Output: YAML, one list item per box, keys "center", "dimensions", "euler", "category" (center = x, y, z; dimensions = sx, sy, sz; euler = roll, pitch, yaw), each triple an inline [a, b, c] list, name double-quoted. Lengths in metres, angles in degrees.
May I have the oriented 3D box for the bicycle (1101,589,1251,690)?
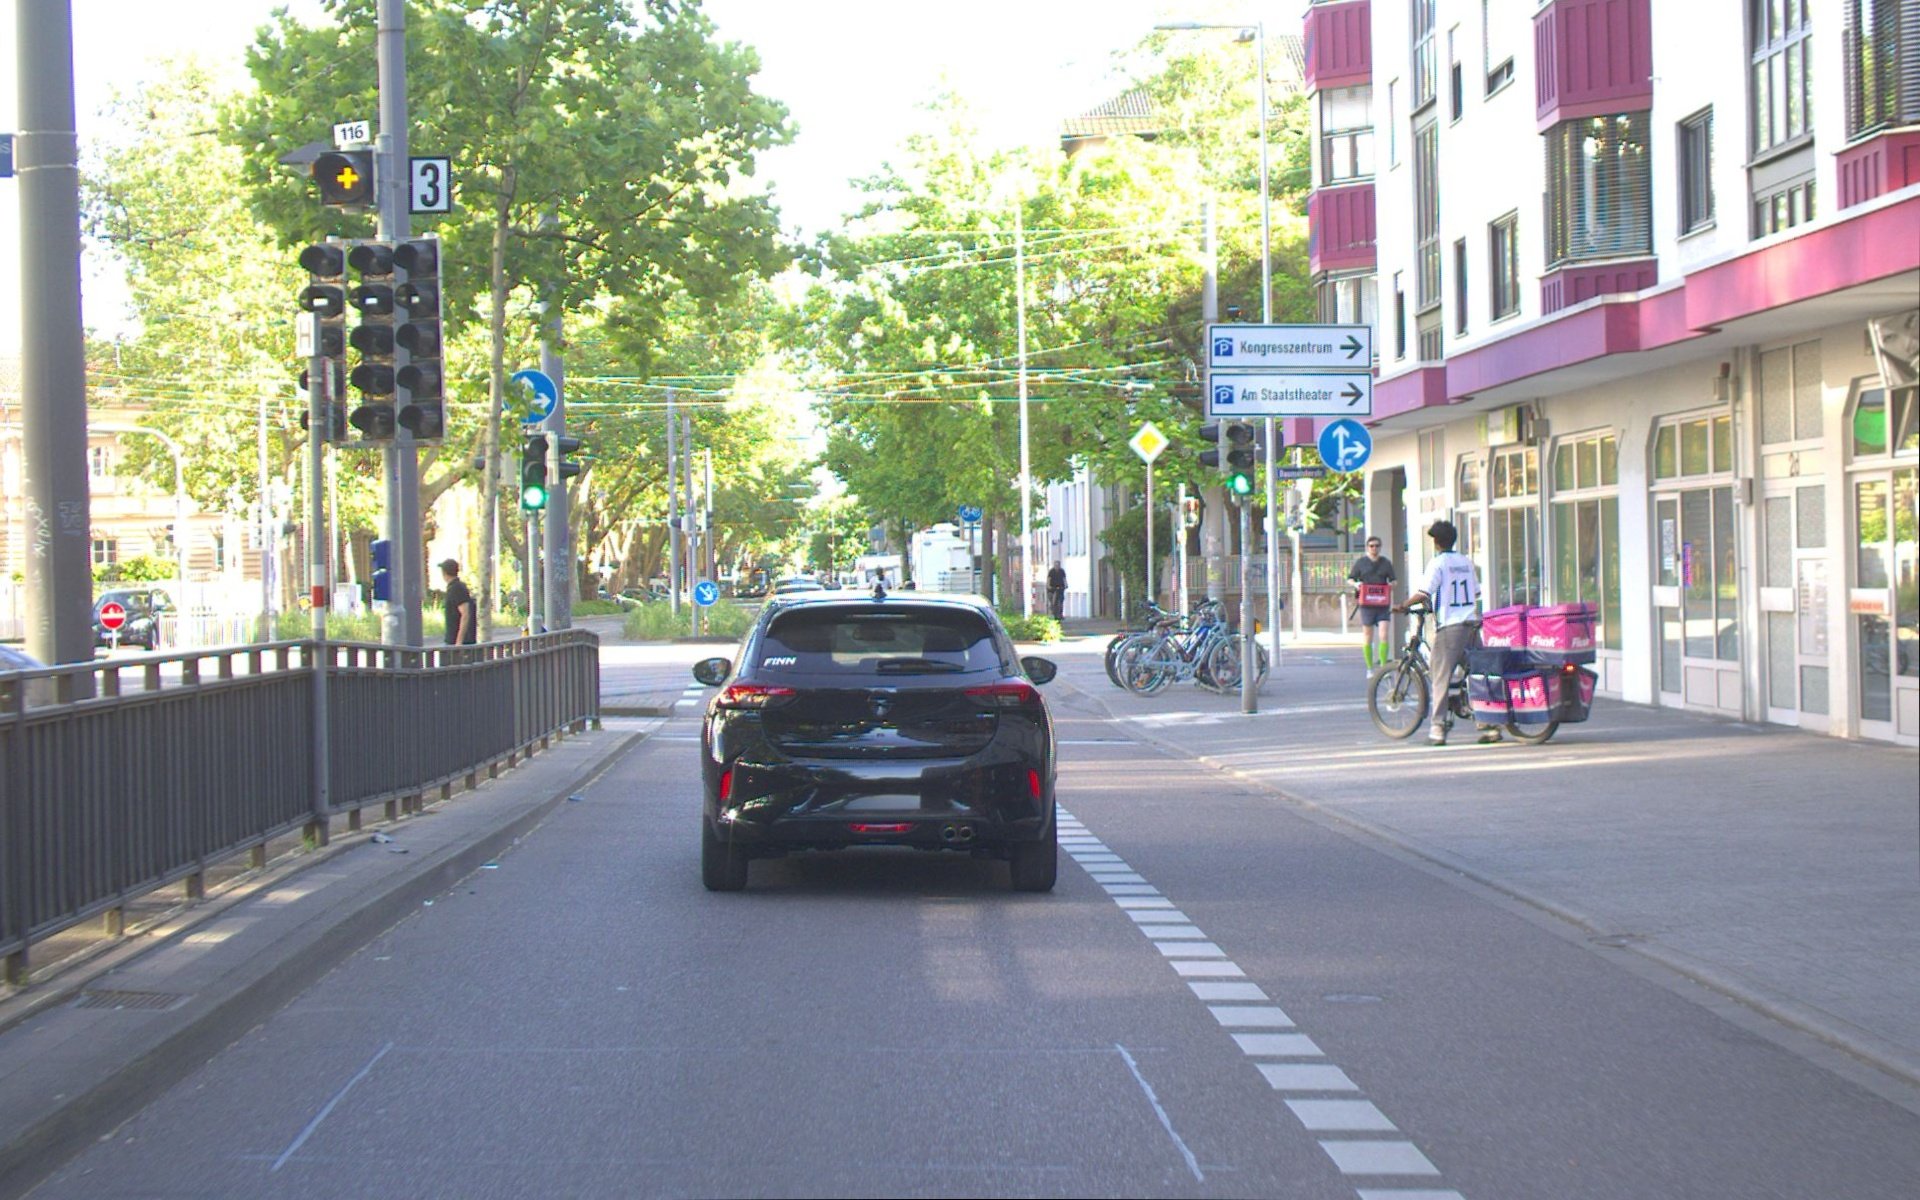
- center: [2.680, 0.489, 42.777]
  dimensions: [1.831, 1.216, 0.496]
  euler: [-1, 0, 2]
  category: "bicycle"

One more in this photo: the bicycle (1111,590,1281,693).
- center: [2.874, 0.501, 41.901]
  dimensions: [1.976, 1.195, 0.591]
  euler: [-1, 0, -6]
  category: "bicycle"

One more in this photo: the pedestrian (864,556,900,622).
- center: [-2.415, -0.354, 106.304]
  dimensions: [1.036, 2.017, 1.212]
  euler: [-1, 0, -3]
  category: "pedestrian"

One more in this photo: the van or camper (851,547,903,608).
- center: [-4.136, -1.126, 171.798]
  dimensions: [2.486, 2.983, 5.434]
  euler: [1, 0, -1]
  category: "van or camper"

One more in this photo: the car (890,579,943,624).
- center: [-1.596, 0.040, 125.141]
  dimensions: [1.790, 1.505, 3.874]
  euler: [-3, 0, -2]
  category: "car"

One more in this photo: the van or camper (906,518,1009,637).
- center: [-0.137, -0.653, 98.403]
  dimensions: [2.375, 3.114, 7.551]
  euler: [-4, 1, -3]
  category: "van or camper"

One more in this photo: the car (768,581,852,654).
- center: [-3.451, 0.385, 79.860]
  dimensions: [1.832, 1.617, 4.285]
  euler: [0, 0, -1]
  category: "car"

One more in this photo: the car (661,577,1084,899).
- center: [-0.432, 0.613, 17.751]
  dimensions: [1.905, 1.420, 4.215]
  euler: [-1, 1, -1]
  category: "car"

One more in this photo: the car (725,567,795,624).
- center: [-5.929, -0.150, 102.277]
  dimensions: [1.993, 1.622, 4.471]
  euler: [1, 0, -3]
  category: "car"

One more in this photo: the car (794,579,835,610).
- center: [-7.122, -0.269, 168.408]
  dimensions: [1.905, 1.420, 4.215]
  euler: [-1, 1, -1]
  category: "car"

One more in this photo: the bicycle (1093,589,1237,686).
- center: [2.625, 0.483, 44.095]
  dimensions: [1.802, 1.195, 0.545]
  euler: [-1, -1, 3]
  category: "bicycle"

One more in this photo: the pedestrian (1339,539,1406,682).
- center: [5.427, 0.135, 45.261]
  dimensions: [0.722, 1.851, 0.801]
  euler: [-1, 0, -2]
  category: "pedestrian"

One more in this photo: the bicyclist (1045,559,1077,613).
- center: [2.883, -0.397, 97.972]
  dimensions: [0.749, 1.505, 0.701]
  euler: [-1, 0, 13]
  category: "bicyclist"

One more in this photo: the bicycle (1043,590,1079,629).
- center: [2.886, 0.262, 97.936]
  dimensions: [0.640, 1.066, 1.950]
  euler: [-1, 0, 13]
  category: "bicycle"

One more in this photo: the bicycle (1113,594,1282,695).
- center: [2.851, 0.530, 41.277]
  dimensions: [1.939, 1.166, 0.572]
  euler: [-1, 0, -4]
  category: "bicycle"

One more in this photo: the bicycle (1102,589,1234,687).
- center: [2.616, 0.480, 43.347]
  dimensions: [1.623, 1.195, 0.496]
  euler: [-1, 0, 3]
  category: "bicycle"

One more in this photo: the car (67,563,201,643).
- center: [-20.925, 0.049, 87.299]
  dimensions: [1.994, 1.941, 4.423]
  euler: [-1, 1, 5]
  category: "car"

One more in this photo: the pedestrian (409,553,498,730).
- center: [-5.055, 0.407, 34.340]
  dimensions: [0.734, 1.741, 0.712]
  euler: [-1, 1, 3]
  category: "pedestrian"

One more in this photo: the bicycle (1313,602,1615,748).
- center: [4.312, 0.624, 29.616]
  dimensions: [0.960, 1.179, 2.597]
  euler: [-1, 1, -39]
  category: "bicycle"

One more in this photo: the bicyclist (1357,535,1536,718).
- center: [4.205, 0.218, 29.735]
  dimensions: [1.057, 1.535, 1.078]
  euler: [-1, 0, -39]
  category: "bicyclist"
